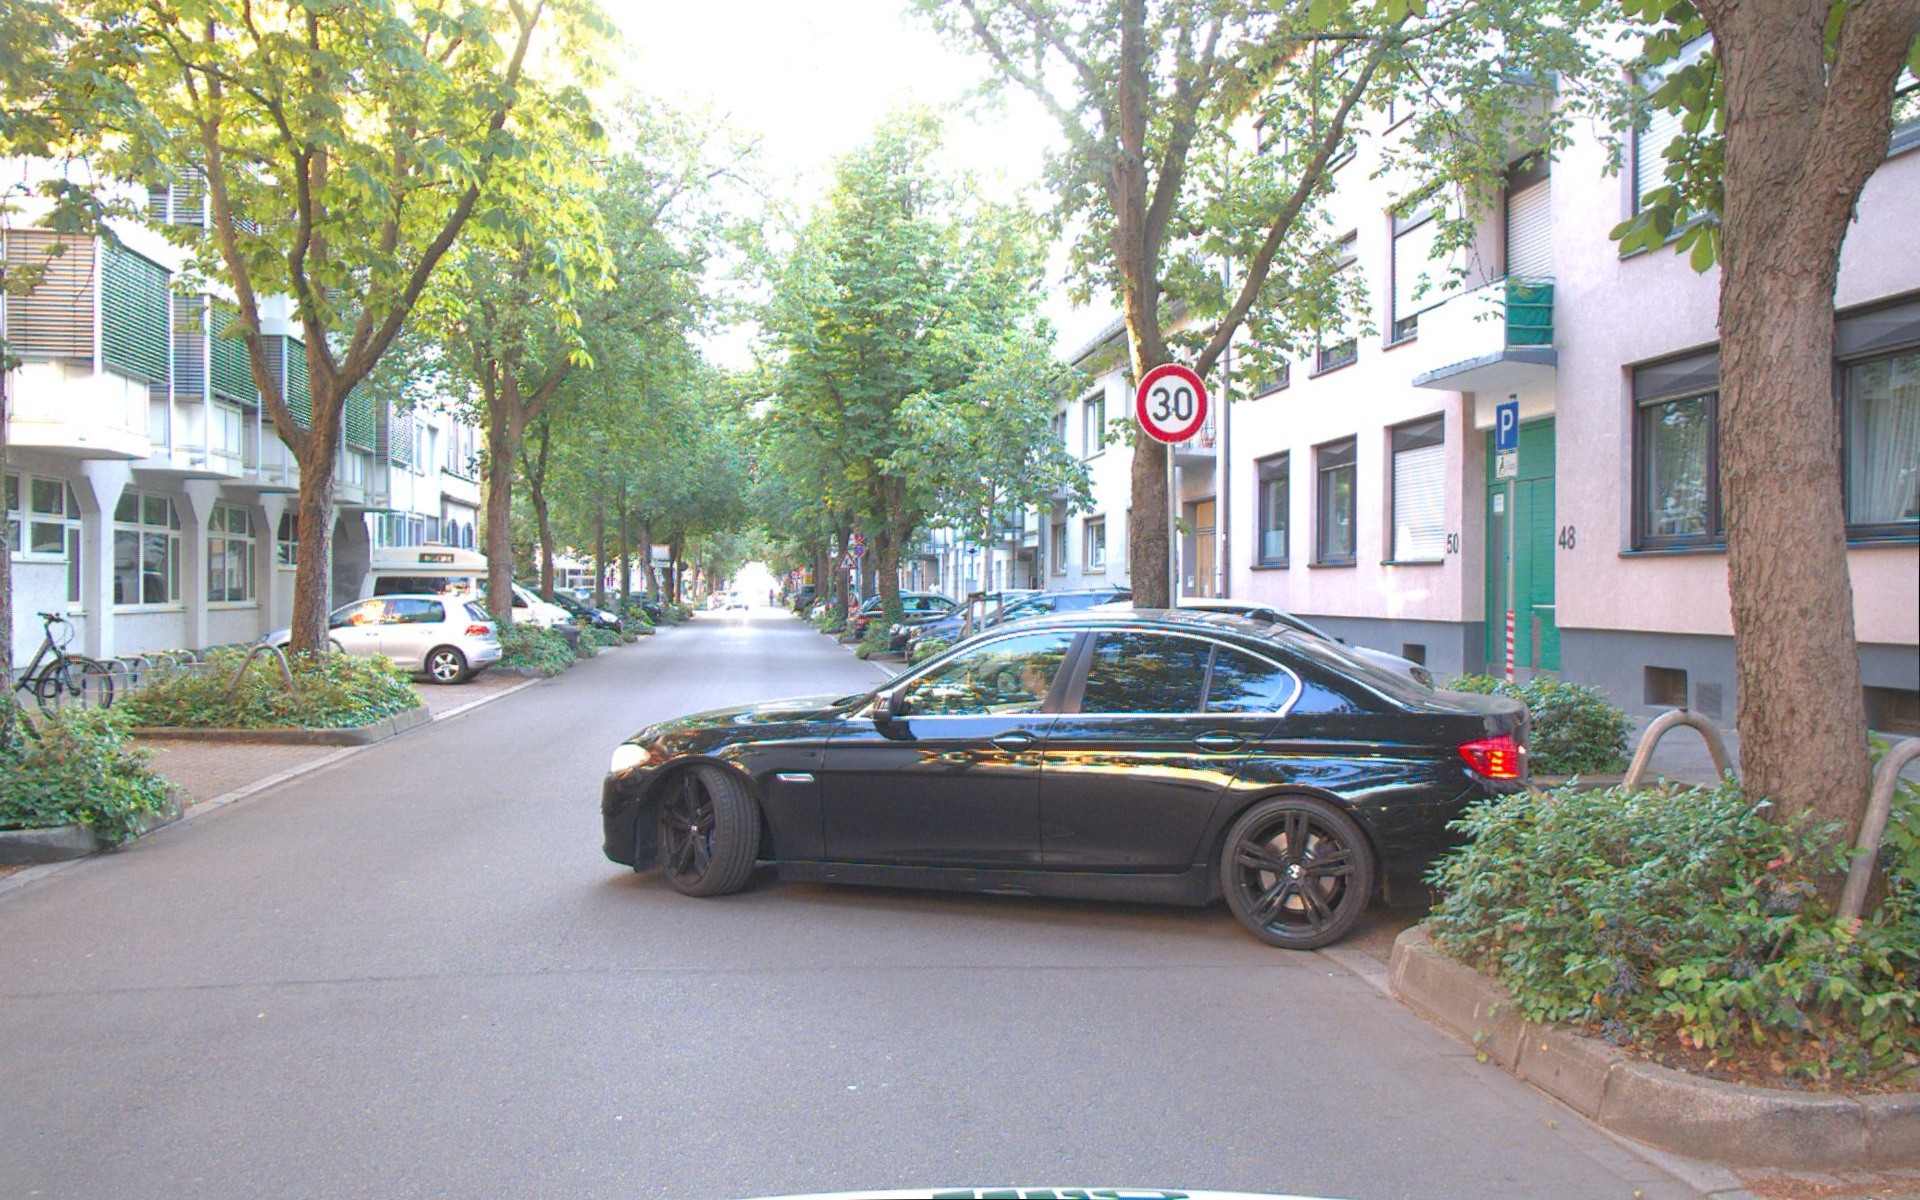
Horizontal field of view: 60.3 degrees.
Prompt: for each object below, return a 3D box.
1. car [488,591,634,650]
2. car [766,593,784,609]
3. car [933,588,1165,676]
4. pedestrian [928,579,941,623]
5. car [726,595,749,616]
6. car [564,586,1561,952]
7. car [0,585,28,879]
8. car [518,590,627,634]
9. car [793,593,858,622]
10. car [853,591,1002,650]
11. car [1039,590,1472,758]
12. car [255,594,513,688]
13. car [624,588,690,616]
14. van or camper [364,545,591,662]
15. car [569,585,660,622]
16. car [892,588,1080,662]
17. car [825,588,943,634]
[{"bbox_3d":[-11.495,0.566,47.856,3.892,1.647,1.783,0,0,-6],"label":"car"},{"bbox_3d":[-18.960,0.082,169.386,1.787,1.557,3.995,-1,0,-6],"label":"car"},{"bbox_3d":[1.552,0.537,29.704,3.894,1.502,1.781,0,0,-9],"label":"car"},{"bbox_3d":[-1.210,0.028,77.570,0.577,2.049,0.669,0,0,-6],"label":"pedestrian"},{"bbox_3d":[-17.787,0.423,132.260,1.745,1.589,4.162,0,0,-6],"label":"car"},{"bbox_3d":[0.519,0.690,8.365,4.645,1.506,1.801,0,0,17],"label":"car"},{"bbox_3d":[-7.105,0.707,7.865,4.272,1.544,1.782,0,0,-7],"label":"car"},{"bbox_3d":[-15.017,0.443,64.270,3.891,1.647,1.783,0,0,-6],"label":"car"},{"bbox_3d":[-8.174,0.469,100.642,3.891,1.713,1.783,0,0,-6],"label":"car"},{"bbox_3d":[-0.912,0.536,44.936,3.893,1.554,1.782,0,0,-8],"label":"car"},{"bbox_3d":[2.810,0.666,16.107,3.836,1.502,1.661,0,0,-9],"label":"car"},{"bbox_3d":[-9.865,0.673,28.576,3.892,1.544,1.783,0,0,-6],"label":"car"},{"bbox_3d":[-18.761,0.113,102.476,3.891,1.647,1.783,0,0,-6],"label":"car"},{"bbox_3d":[-10.676,0.057,36.879,4.575,2.521,1.997,0,0,-7],"label":"van or camper"},{"bbox_3d":[-15.830,0.168,75.916,3.891,1.647,1.783,0,0,-6],"label":"car"},{"bbox_3d":[0.540,0.527,36.148,3.893,1.554,1.782,0,0,-8],"label":"car"},{"bbox_3d":[-2.633,0.364,56.776,3.894,1.554,1.782,0,0,-9],"label":"car"}]
